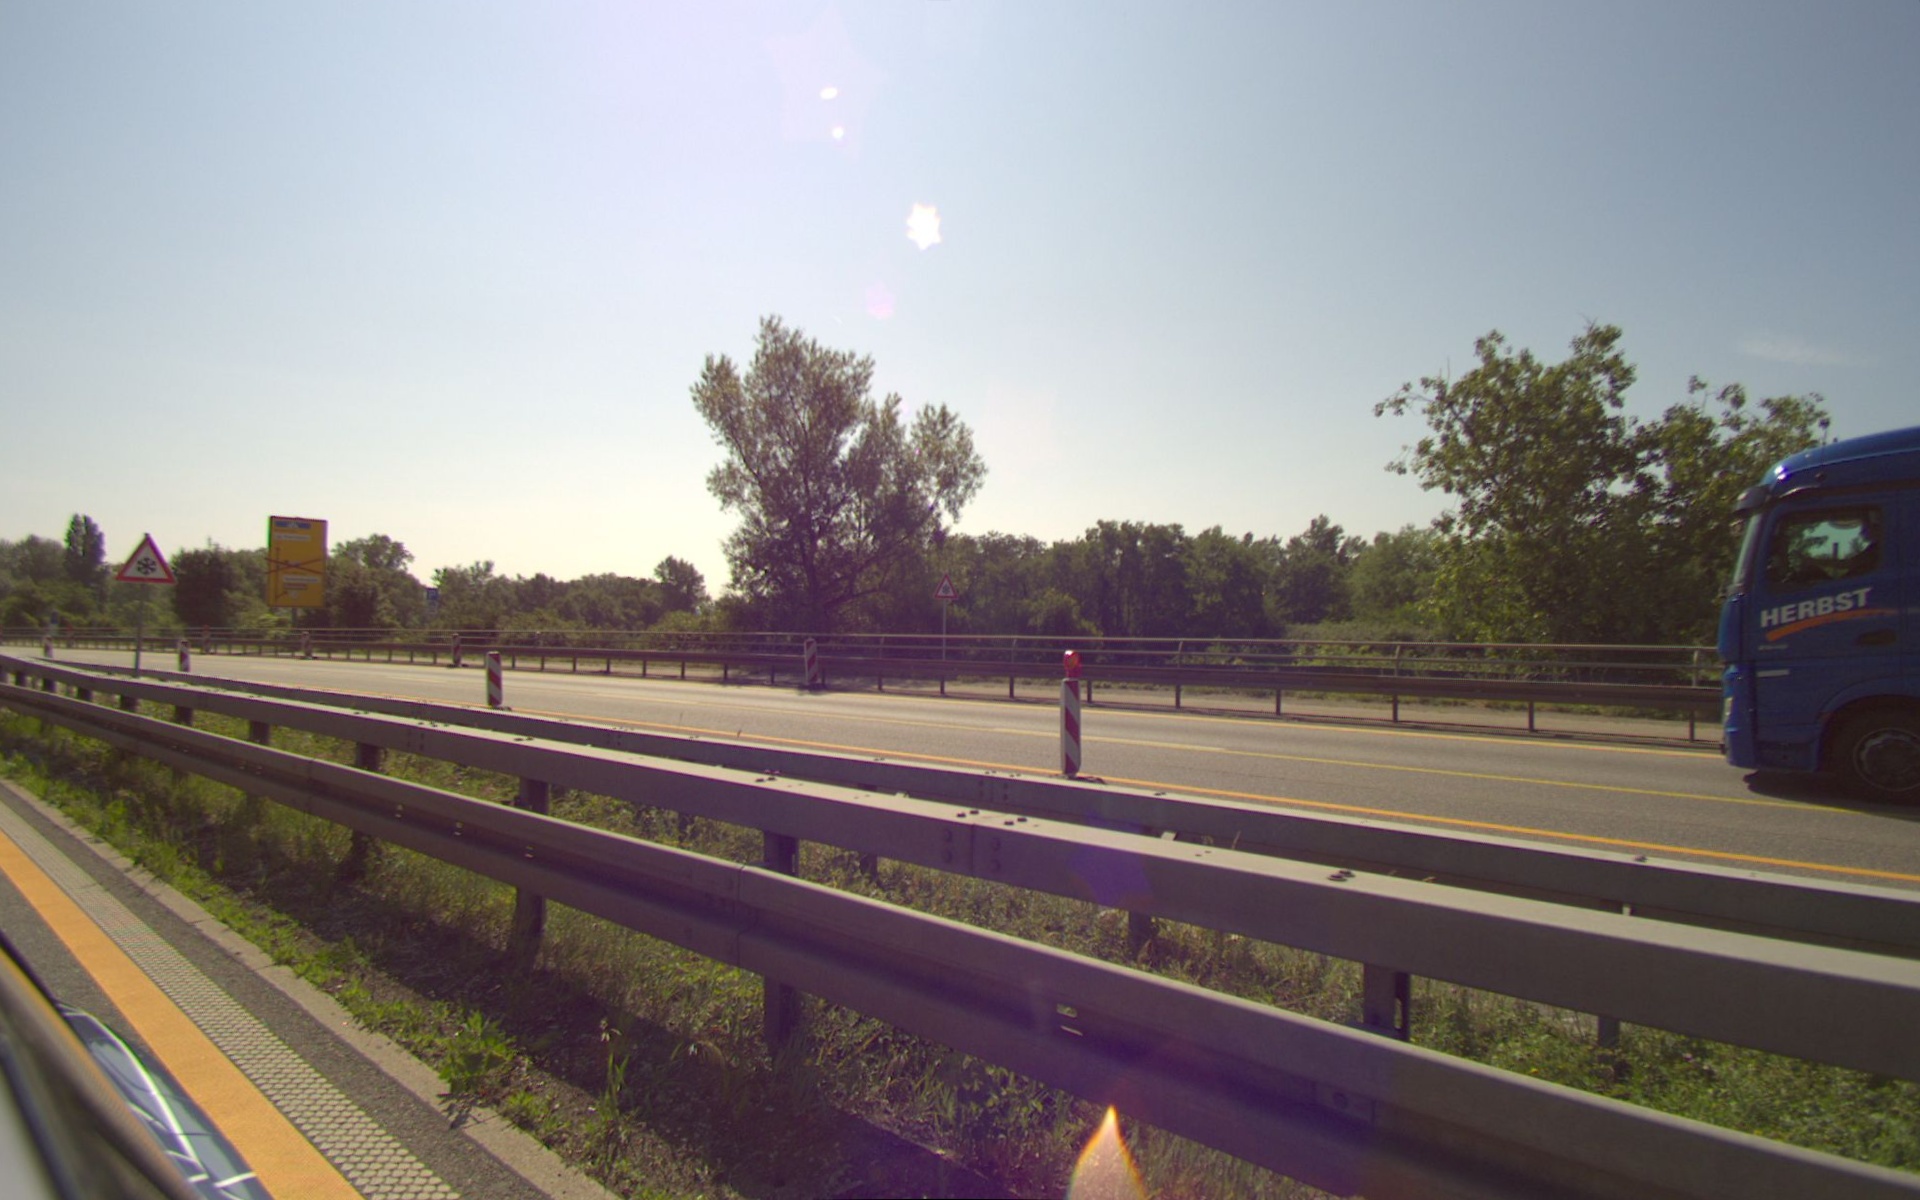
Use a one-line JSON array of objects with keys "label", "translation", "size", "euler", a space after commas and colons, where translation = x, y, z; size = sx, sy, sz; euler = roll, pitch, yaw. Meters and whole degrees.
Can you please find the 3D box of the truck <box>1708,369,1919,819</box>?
[{"label": "truck", "translation": [12.583, -0.150, 7.808], "size": [10.623, 4.122, 3.005], "euler": [-2, -1, 43]}]
